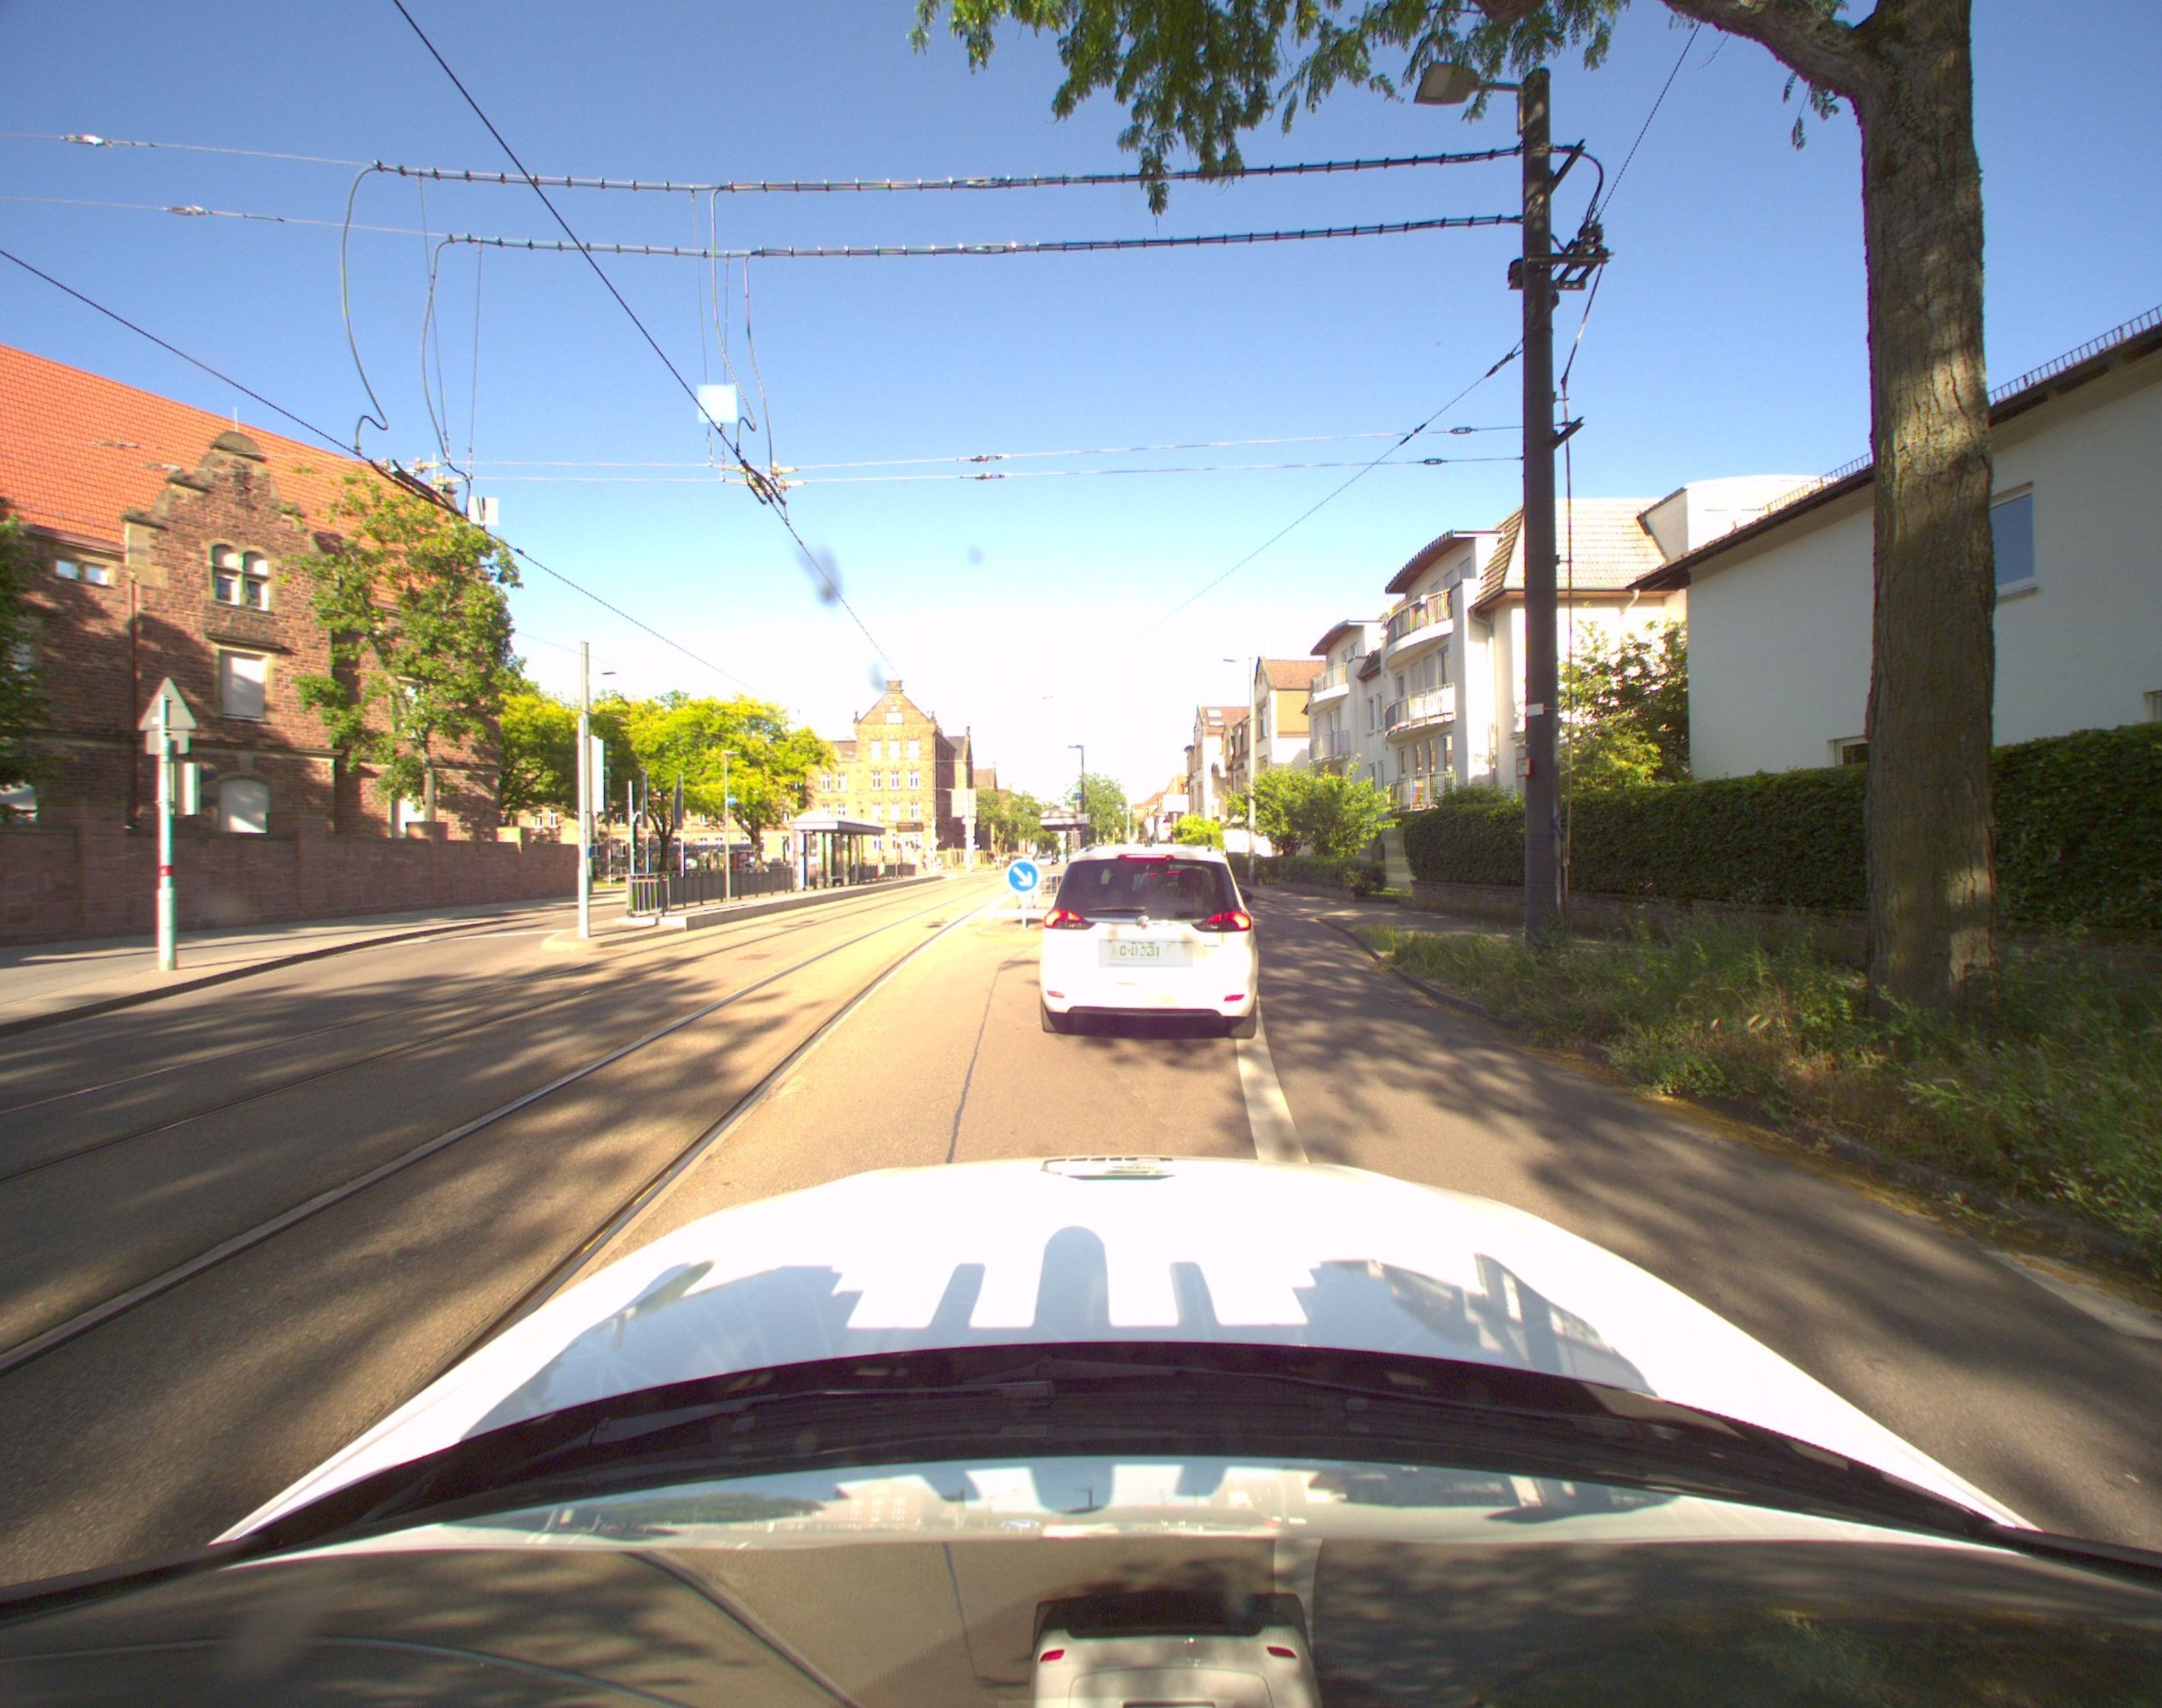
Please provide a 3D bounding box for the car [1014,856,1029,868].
[{"bbox_3d":[-8.327,1.122,114.116,1.740,1.716,4.001,0,-1,2],"label":"car"}]

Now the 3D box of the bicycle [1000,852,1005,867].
[{"bbox_3d":[-10.583,0.720,109.608,0.485,2.013,1.406,-1,0,2],"label":"bicycle"}]

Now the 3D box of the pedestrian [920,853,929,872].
[{"bbox_3d":[-17.059,0.944,88.946,0.800,2.014,0.713,0,-1,-32],"label":"pedestrian"}]

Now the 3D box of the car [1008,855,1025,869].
[{"bbox_3d":[-8.496,1.036,107.449,1.740,1.716,4.001,0,-1,2],"label":"car"}]

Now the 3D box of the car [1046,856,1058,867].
[{"bbox_3d":[-4.600,1.190,129.394,1.740,1.716,4.001,0,-1,2],"label":"car"}]

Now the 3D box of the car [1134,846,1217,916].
[{"bbox_3d":[2.527,0.638,21.098,1.896,1.624,4.010,-1,0,9],"label":"car"}]

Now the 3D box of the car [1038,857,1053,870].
[{"bbox_3d":[-4.705,1.262,107.669,1.740,1.716,4.001,0,-1,2],"label":"car"}]

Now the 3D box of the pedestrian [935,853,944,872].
[{"bbox_3d":[-15.551,0.938,89.532,0.801,2.014,0.713,0,-1,-35],"label":"pedestrian"}]

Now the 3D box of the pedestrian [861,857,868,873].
[{"bbox_3d":[-23.688,1.215,89.084,0.768,1.774,0.717,0,-1,-15],"label":"pedestrian"}]

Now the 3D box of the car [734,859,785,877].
[{"bbox_3d":[-29.650,1.316,75.212,3.976,1.630,1.817,0,-1,-2],"label":"car"}]

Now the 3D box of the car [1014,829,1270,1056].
[{"bbox_3d":[0.755,0.661,8.095,1.896,1.661,4.010,-1,0,9],"label":"car"}]

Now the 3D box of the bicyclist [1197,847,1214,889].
[{"bbox_3d":[5.051,0.555,33.136,0.613,1.686,0.780,-1,0,6],"label":"bicyclist"}]

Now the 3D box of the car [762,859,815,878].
[{"bbox_3d":[-25.443,1.240,70.969,3.976,1.630,1.817,0,-1,-2],"label":"car"}]

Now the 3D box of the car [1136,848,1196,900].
[{"bbox_3d":[2.978,0.652,28.343,1.897,1.661,4.007,-1,0,6],"label":"car"}]

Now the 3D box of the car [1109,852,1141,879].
[{"bbox_3d":[2.845,0.753,53.179,1.901,1.661,4.000,-1,0,0],"label":"car"}]

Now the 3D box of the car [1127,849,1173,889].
[{"bbox_3d":[2.999,0.617,36.186,1.899,1.661,4.003,-1,0,3],"label":"car"}]

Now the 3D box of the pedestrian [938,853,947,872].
[{"bbox_3d":[-14.548,0.871,85.512,0.796,2.014,0.717,0,-1,-15],"label":"pedestrian"}]

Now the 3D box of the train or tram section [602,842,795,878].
[{"bbox_3d":[-37.841,0.577,81.144,17.346,3.154,3.344,-1,-1,-3],"label":"train or tram section"}]

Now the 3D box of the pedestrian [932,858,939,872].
[{"bbox_3d":[-17.137,1.261,95.979,0.651,1.612,0.712,0,-1,4],"label":"pedestrian"}]

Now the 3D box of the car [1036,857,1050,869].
[{"bbox_3d":[-5.368,1.294,115.548,1.740,1.716,4.001,0,-1,2],"label":"car"}]

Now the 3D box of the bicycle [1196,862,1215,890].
[{"bbox_3d":[5.049,0.882,33.102,0.621,1.097,1.977,-1,0,6],"label":"bicycle"}]

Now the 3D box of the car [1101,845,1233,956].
[{"bbox_3d":[1.561,0.685,13.865,1.896,1.597,4.010,-1,0,9],"label":"car"}]

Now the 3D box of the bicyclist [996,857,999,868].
[{"bbox_3d":[-10.662,1.062,103.496,0.312,1.444,0.384,-1,0,1],"label":"bicyclist"}]

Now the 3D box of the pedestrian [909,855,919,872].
[{"bbox_3d":[-18.389,1.038,89.636,0.802,1.901,0.747,-1,-1,16],"label":"pedestrian"}]

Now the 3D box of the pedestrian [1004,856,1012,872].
[{"bbox_3d":[-8.720,1.179,97.168,0.744,1.901,0.805,0,-1,-22],"label":"pedestrian"}]

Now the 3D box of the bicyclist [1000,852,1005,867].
[{"bbox_3d":[-10.575,0.720,109.589,0.496,2.013,0.572,-1,0,1],"label":"bicyclist"}]
